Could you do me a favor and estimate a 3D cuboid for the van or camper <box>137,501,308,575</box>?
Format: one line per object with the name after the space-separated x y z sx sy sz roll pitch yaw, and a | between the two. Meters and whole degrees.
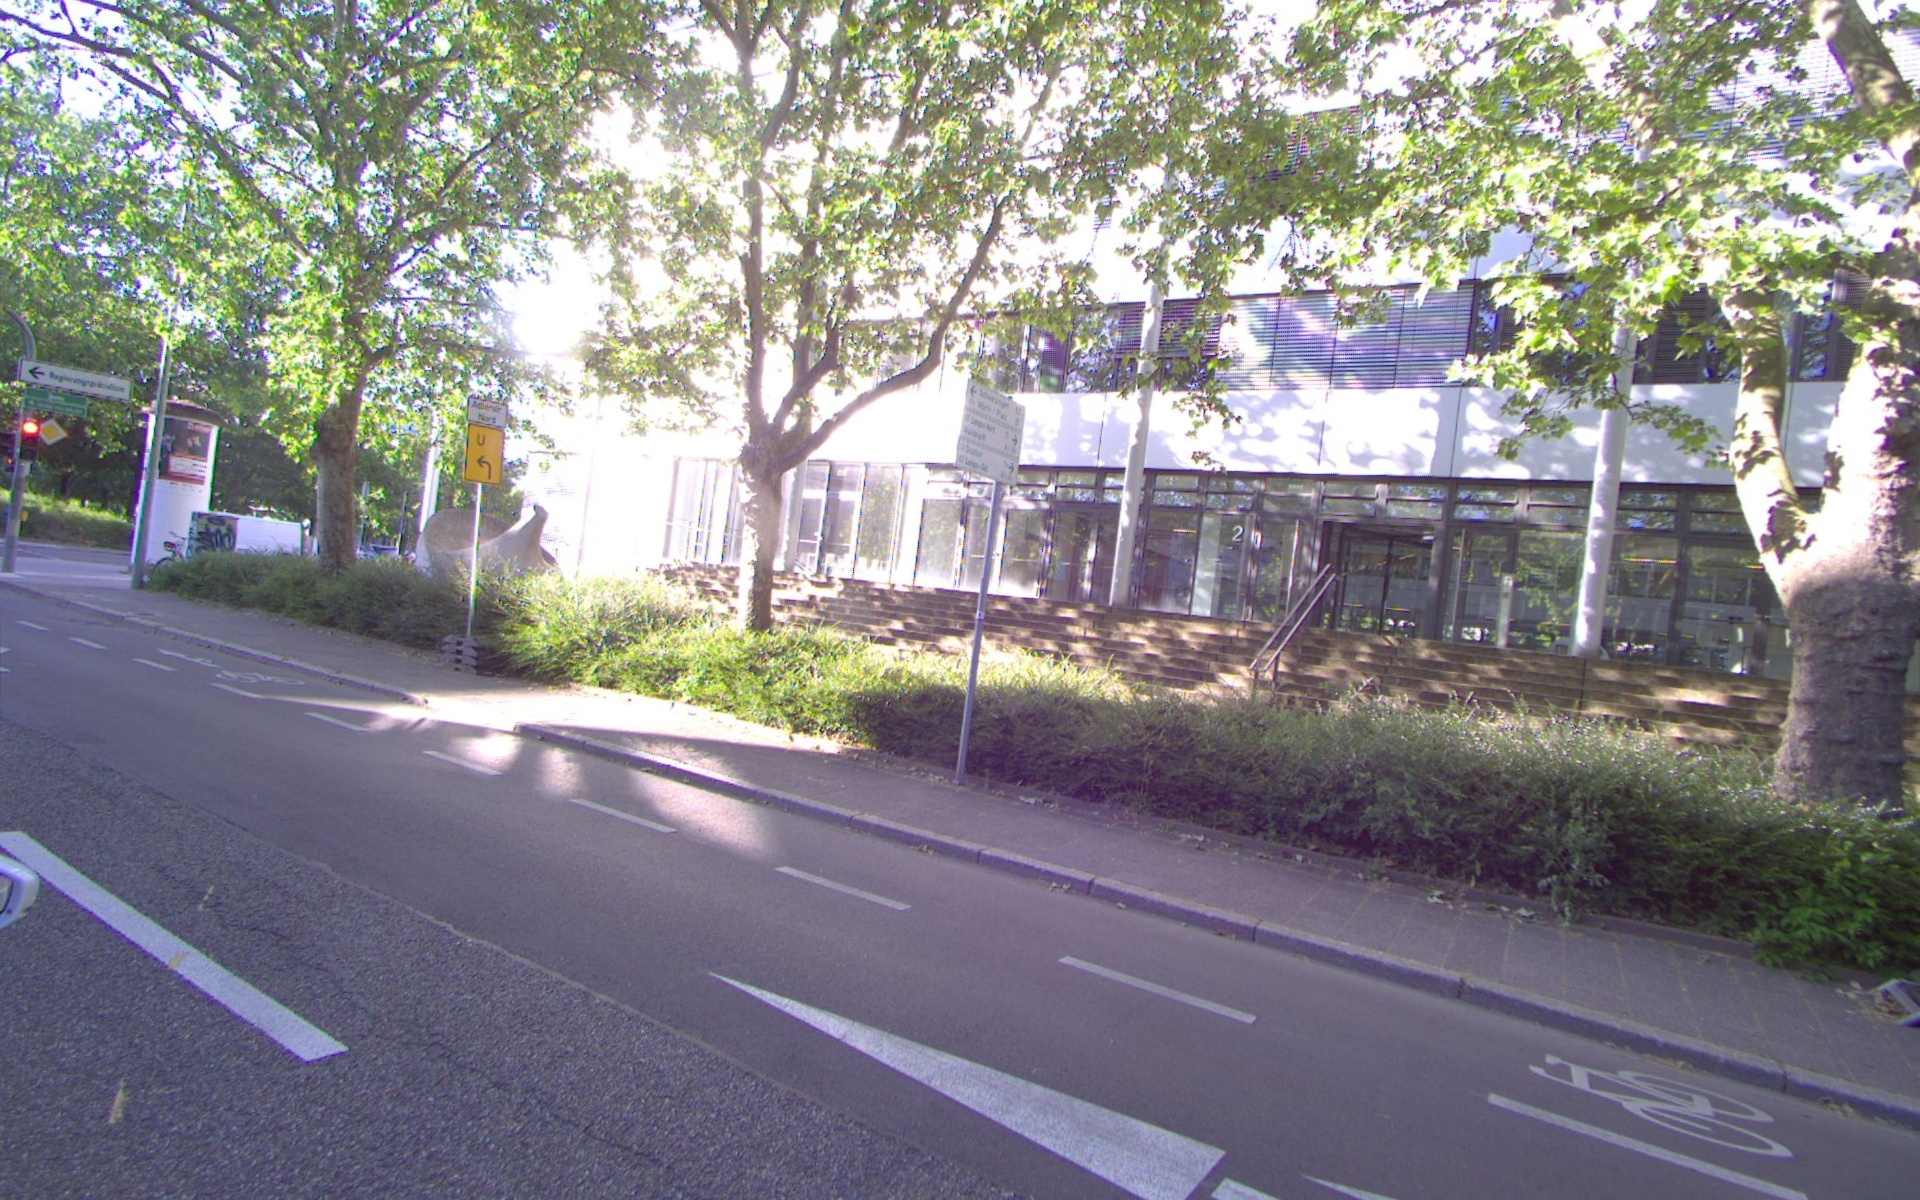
-27.142 -2.241 37.179 1.968 1.964 4.585 7 -1 33 | van or camper

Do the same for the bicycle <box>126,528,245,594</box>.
-16.092 -0.799 20.948 0.502 1.110 1.806 7 -1 34 | bicycle
